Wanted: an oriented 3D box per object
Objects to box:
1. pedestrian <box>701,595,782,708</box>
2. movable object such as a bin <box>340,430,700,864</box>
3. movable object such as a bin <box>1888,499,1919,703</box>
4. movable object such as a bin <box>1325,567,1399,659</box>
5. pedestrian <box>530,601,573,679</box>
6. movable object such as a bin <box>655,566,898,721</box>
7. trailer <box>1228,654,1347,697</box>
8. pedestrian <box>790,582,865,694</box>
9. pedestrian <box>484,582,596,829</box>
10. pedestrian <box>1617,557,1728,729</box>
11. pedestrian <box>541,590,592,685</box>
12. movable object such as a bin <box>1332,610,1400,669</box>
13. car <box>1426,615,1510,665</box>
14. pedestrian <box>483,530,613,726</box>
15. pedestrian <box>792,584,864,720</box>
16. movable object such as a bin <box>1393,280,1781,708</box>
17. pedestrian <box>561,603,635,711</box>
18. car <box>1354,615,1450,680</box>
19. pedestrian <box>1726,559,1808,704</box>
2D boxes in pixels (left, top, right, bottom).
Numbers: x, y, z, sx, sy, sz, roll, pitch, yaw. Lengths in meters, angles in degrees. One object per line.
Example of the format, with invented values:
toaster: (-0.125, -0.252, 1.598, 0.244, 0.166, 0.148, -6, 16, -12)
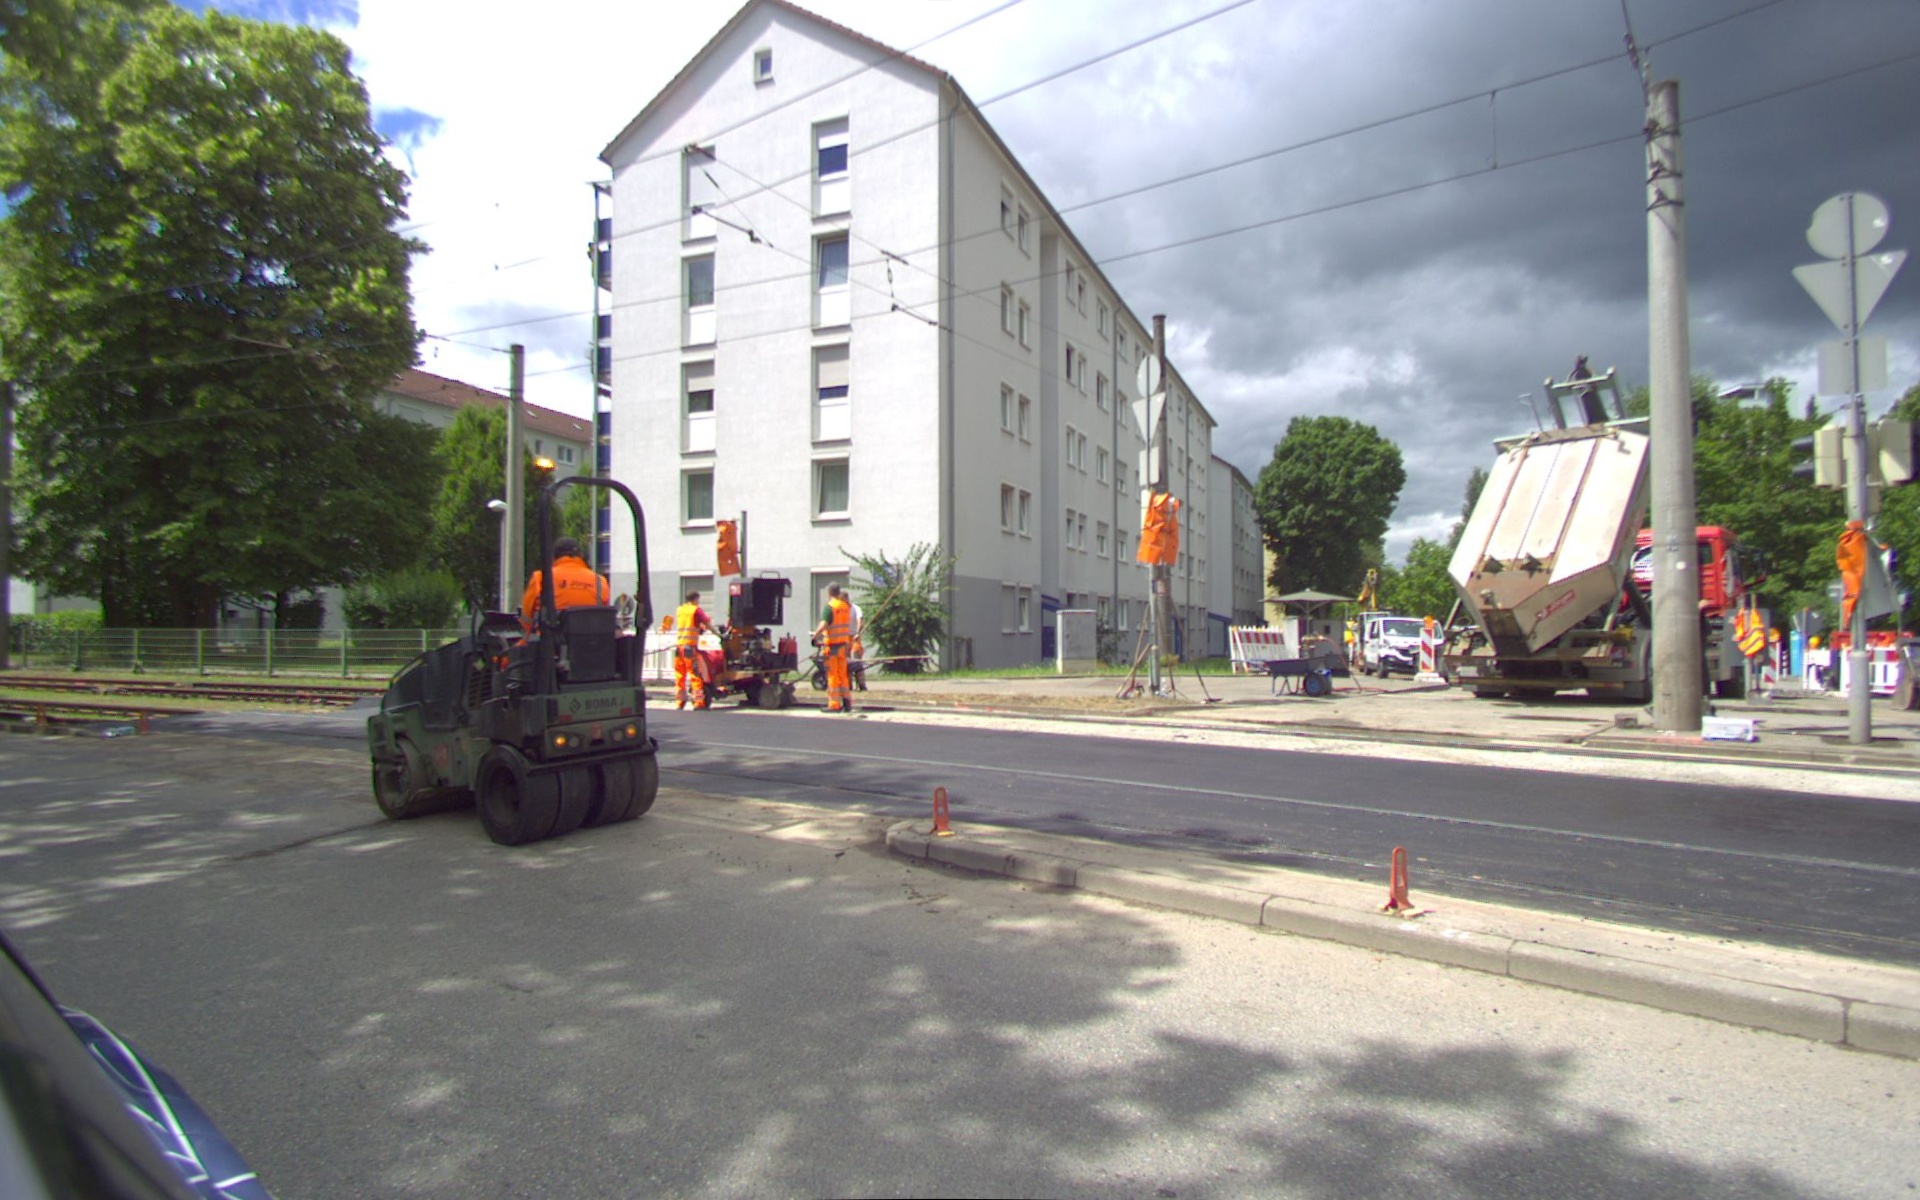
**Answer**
pedestrian: (-3.476, 0.811, 16.135, 0.916, 1.729, 0.850, -2, -2, 33)
movable object such as a bin: (-3.197, 0.313, 7.304, 2.355, 2.613, 1.306, -2, -2, 33)
movable object such as a bin: (12.816, -0.015, 11.316, 2.105, 2.689, 5.536, -1, -1, 27)
movable object such as a bin: (21.118, 0.779, 53.486, 2.800, 4.570, 6.178, -1, -3, 15)
pedestrian: (-8.975, 0.866, 22.261, 0.865, 1.696, 0.669, 0, -1, -21)
movable object such as a bin: (-2.686, 0.635, 14.876, 2.957, 2.029, 1.979, -2, -3, 31)
trailer: (5.134, 1.165, 15.931, 0.785, 0.621, 1.598, 3, -4, -44)
pedestrian: (-2.253, 0.653, 17.324, 0.868, 1.838, 1.088, -1, -2, 21)
pedestrian: (-3.013, 0.727, 7.266, 0.555, 1.694, 0.466, -1, 0, 25)
pedestrian: (8.084, 0.473, 11.489, 0.970, 1.846, 0.786, -1, -1, 38)
pedestrian: (-8.204, 0.774, 21.133, 0.867, 1.922, 0.668, 0, -1, -8)
movable object such as a bin: (17.525, 1.704, 43.828, 1.979, 2.428, 3.985, -1, -3, 11)
car: (22.240, 1.767, 44.557, 1.981, 2.029, 5.881, -1, -3, 14)
pedestrian: (-2.726, 0.188, 6.710, 0.615, 1.226, 0.545, -2, -3, 32)
pedestrian: (-1.868, 0.730, 14.388, 0.763, 1.853, 0.778, -1, -2, 20)
movable object such as a bin: (10.830, -1.216, 16.961, 8.893, 5.527, 2.825, 2, -3, -40)
pedestrian: (-6.023, 0.937, 16.846, 0.914, 1.729, 0.746, -2, -2, 27)
car: (13.763, 1.477, 31.786, 1.980, 1.896, 4.324, -1, -3, 13)
pedestrian: (10.346, 0.414, 12.999, 0.609, 1.802, 0.577, -3, -3, 25)
